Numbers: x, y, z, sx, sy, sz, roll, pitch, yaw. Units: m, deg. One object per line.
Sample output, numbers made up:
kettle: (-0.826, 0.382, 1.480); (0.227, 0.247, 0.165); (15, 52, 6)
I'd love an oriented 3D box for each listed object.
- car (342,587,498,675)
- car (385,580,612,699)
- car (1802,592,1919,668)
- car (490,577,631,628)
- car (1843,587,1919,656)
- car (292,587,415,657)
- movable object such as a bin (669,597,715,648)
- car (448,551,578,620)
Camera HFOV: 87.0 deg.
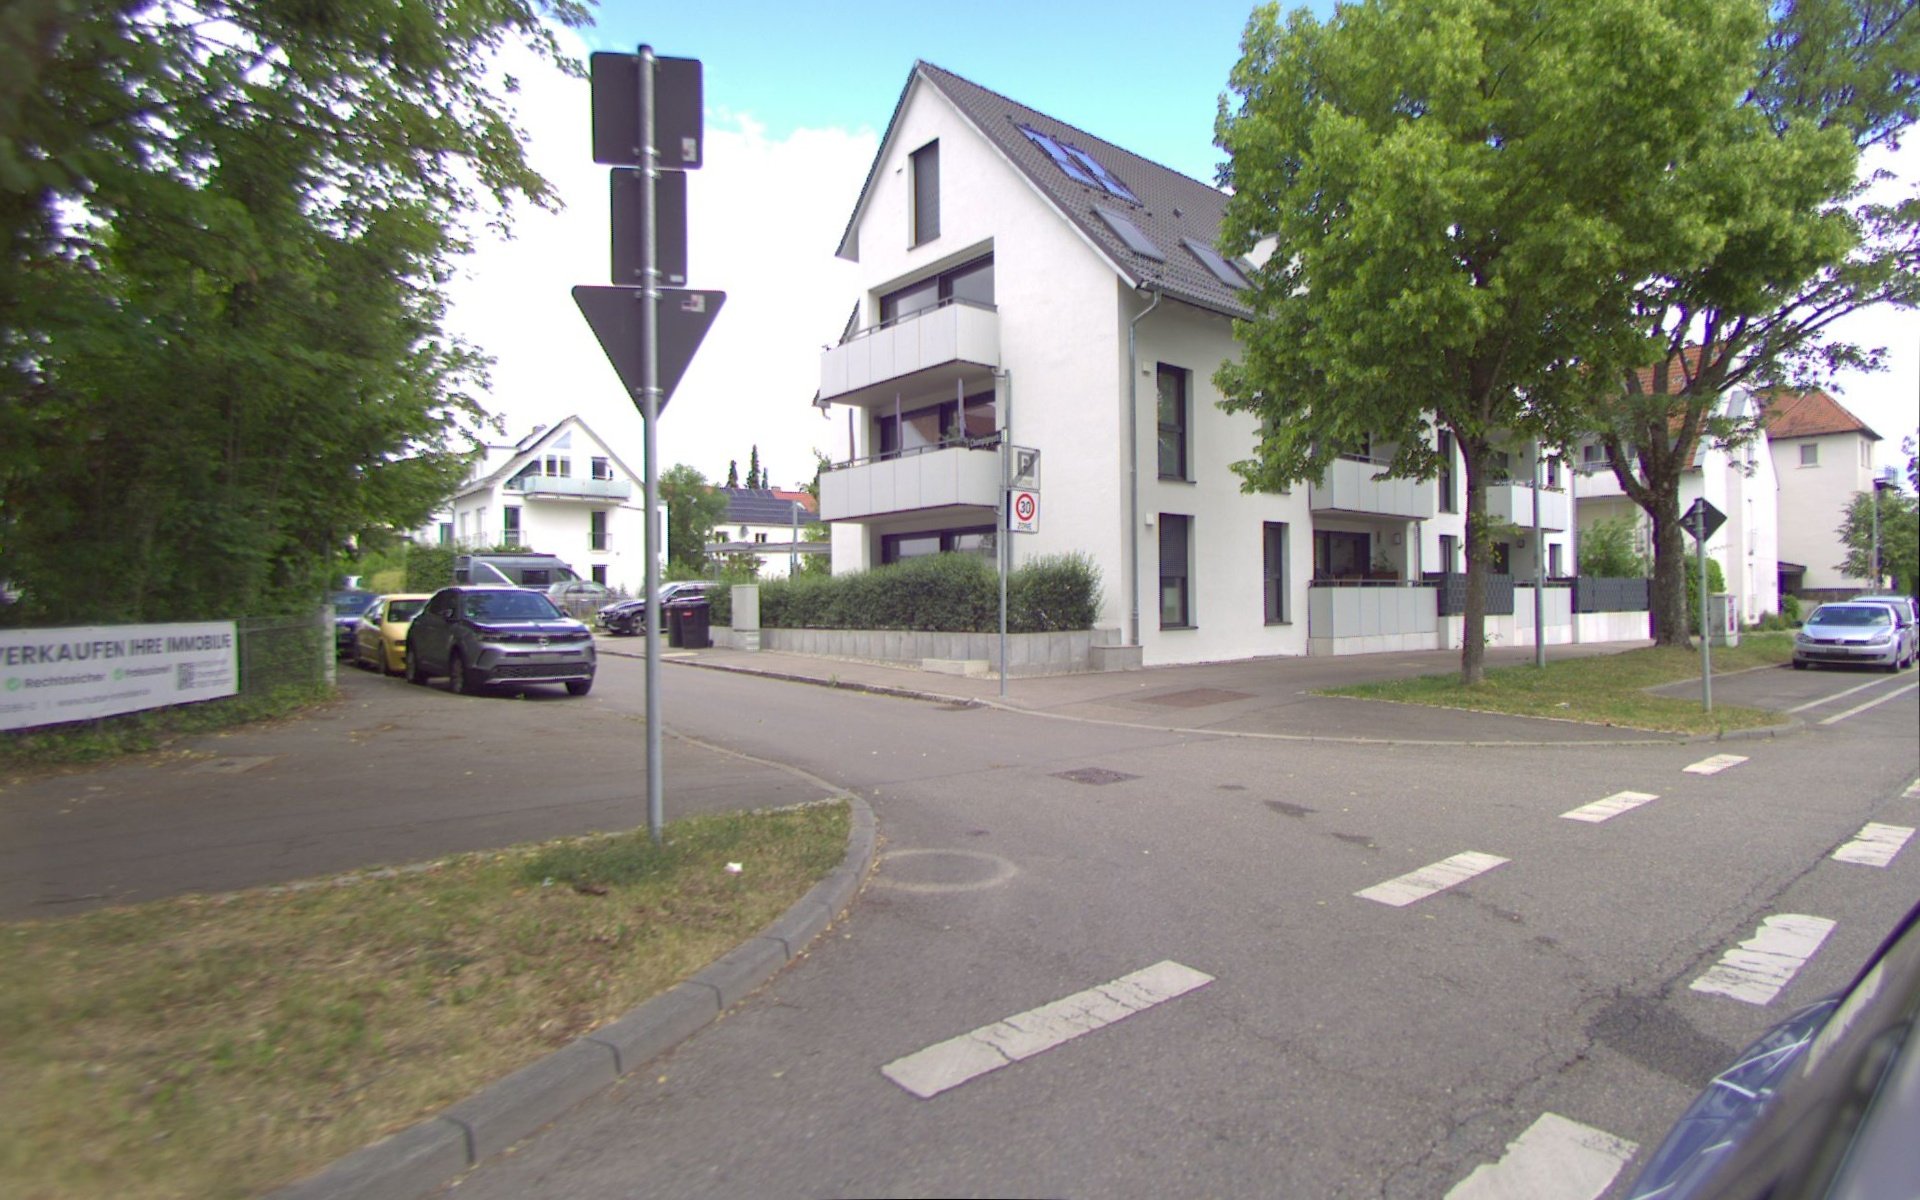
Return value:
car: (-10.020, 0.516, 18.639); (1.761, 1.435, 3.995); (1, -1, -40)
car: (-6.754, 0.492, 14.609); (1.763, 1.478, 3.990); (1, -1, -43)
car: (20.144, 0.592, 22.404); (4.153, 1.512, 1.690); (0, 1, -41)
car: (-13.731, 0.077, 34.924); (4.109, 1.670, 1.995); (0, 0, -45)
car: (24.519, 0.524, 26.477); (3.583, 1.686, 1.636); (0, 0, -40)
car: (-13.813, 0.457, 22.957); (1.762, 1.435, 3.994); (1, -1, -40)
movable object such as a bin: (-6.134, 0.498, 23.159); (0.715, 1.106, 0.976); (0, 0, -36)
car: (-17.284, -0.550, 39.226); (4.177, 2.540, 1.995); (0, 0, -45)
